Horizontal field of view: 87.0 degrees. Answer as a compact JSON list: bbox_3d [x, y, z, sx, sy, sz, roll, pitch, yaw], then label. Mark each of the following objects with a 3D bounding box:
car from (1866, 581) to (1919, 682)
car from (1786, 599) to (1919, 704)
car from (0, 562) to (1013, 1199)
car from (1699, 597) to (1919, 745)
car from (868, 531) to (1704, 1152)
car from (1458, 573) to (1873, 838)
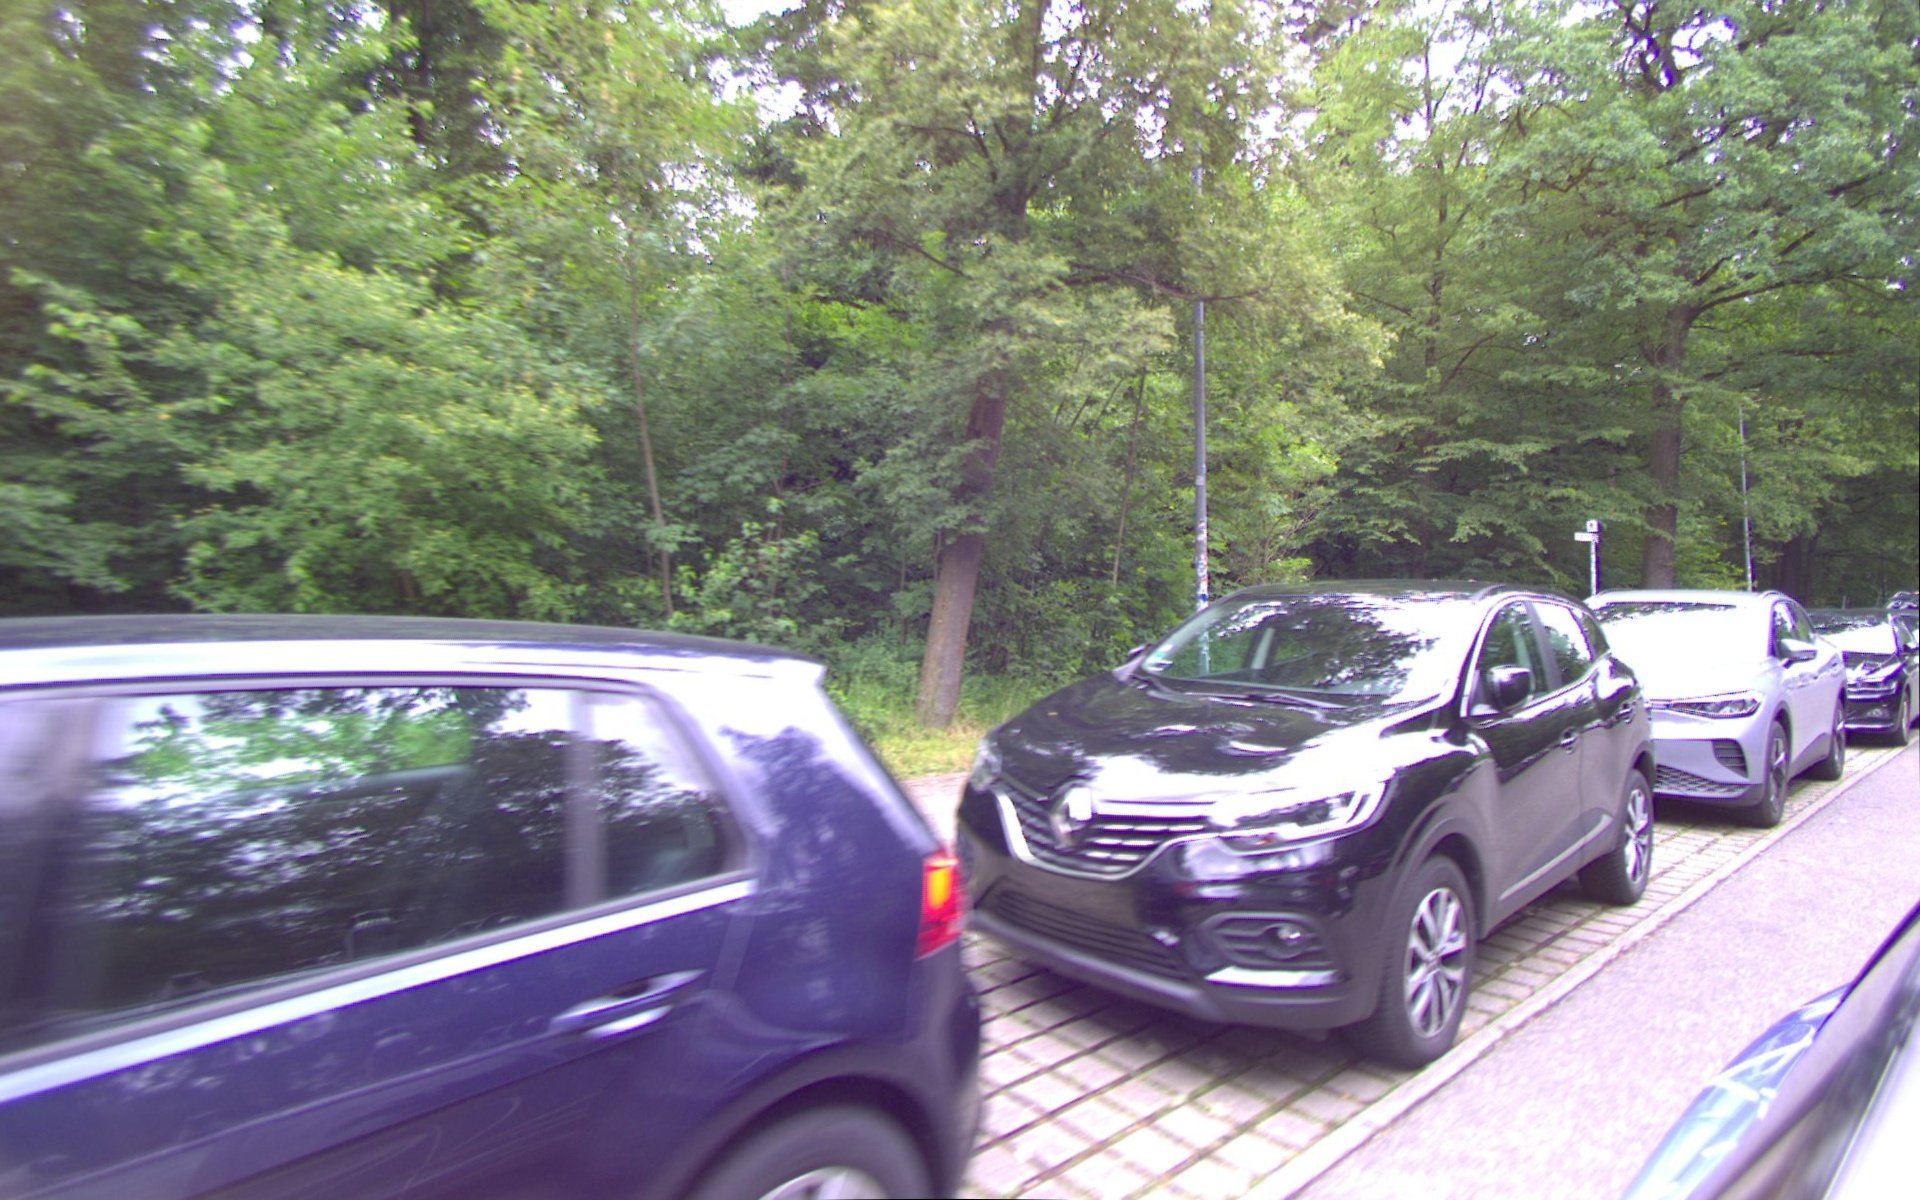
[{"bbox_3d":[18.565,0.546,18.865,4.406,1.745,1.908,0,0,-40],"label":"car"},{"bbox_3d":[14.403,0.707,15.697,4.114,1.444,1.749,0,0,-40],"label":"car"},{"bbox_3d":[-2.168,0.688,1.078,4.666,1.453,1.738,0,0,-44],"label":"car"},{"bbox_3d":[10.496,0.706,12.138,3.930,1.460,1.823,0,1,-41],"label":"car"},{"bbox_3d":[1.851,0.610,4.741,4.349,1.580,1.841,0,0,-43],"label":"car"},{"bbox_3d":[5.977,0.634,8.344,4.405,1.607,1.904,0,0,-43],"label":"car"}]
